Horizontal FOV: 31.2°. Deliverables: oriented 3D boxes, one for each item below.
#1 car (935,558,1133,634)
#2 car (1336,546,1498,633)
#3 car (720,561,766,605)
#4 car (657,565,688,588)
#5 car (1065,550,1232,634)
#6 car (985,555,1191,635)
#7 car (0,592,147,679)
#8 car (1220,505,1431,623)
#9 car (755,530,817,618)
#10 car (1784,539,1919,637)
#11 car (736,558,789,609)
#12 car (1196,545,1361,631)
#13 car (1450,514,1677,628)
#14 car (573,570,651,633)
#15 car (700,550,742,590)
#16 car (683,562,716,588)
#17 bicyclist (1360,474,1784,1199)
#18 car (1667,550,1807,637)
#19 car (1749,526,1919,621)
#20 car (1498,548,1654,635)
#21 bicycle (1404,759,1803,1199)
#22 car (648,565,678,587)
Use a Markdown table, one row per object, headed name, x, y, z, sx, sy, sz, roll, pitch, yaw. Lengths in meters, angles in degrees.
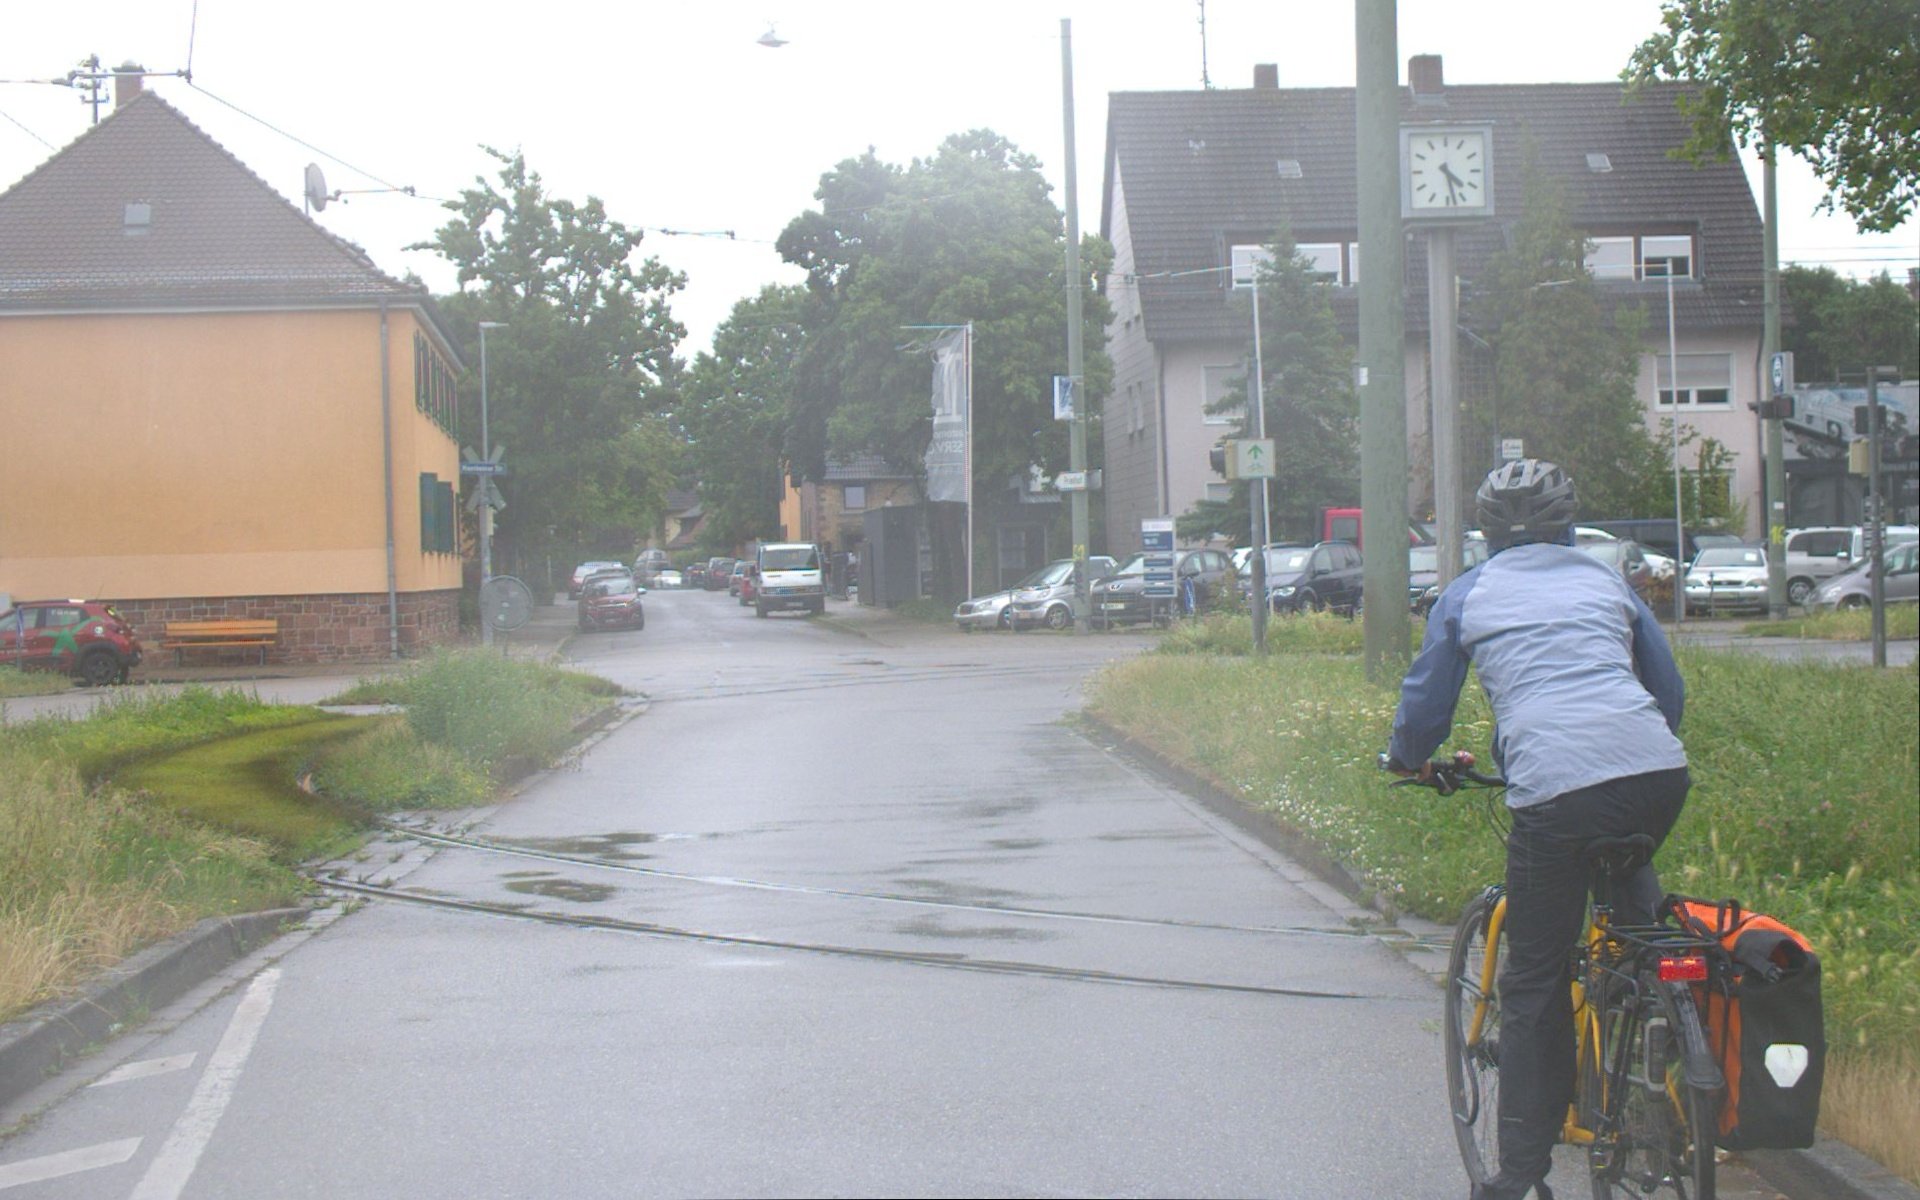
| name | x | y | z | sx | sy | sz | roll | pitch | yaw |
| --- | --- | --- | --- | --- | --- | --- | --- | --- | --- |
| car | 1.654 | -0.091 | 76.518 | 3.987 | 1.637 | 2.000 | 1 | 0 | -35 |
| car | 8.927 | -0.202 | 66.894 | 1.996 | 1.634 | 3.994 | 1 | 0 | 25 |
| car | -9.093 | -0.694 | 144.076 | 1.804 | 1.805 | 4.000 | 1 | 0 | -2 |
| car | -18.840 | -1.554 | 225.172 | 1.804 | 1.456 | 4.000 | 1 | 0 | -2 |
| car | 3.837 | -0.161 | 69.343 | 1.996 | 1.634 | 3.994 | 1 | 0 | 25 |
| car | 2.743 | -0.099 | 73.441 | 3.987 | 1.670 | 2.000 | 1 | 0 | -35 |
| car | -16.193 | 0.602 | 59.303 | 3.986 | 1.451 | 1.834 | 1 | 0 | -6 |
| car | 8.135 | -0.797 | 76.345 | 4.398 | 2.557 | 1.999 | 1 | 0 | 15 |
| car | -5.287 | -0.782 | 104.688 | 1.804 | 2.618 | 4.000 | 1 | 0 | -2 |
| car | 16.842 | -0.203 | 61.589 | 3.685 | 1.695 | 1.890 | 1 | 0 | 1 |
| car | -7.138 | -0.599 | 124.578 | 1.804 | 1.805 | 4.000 | 1 | 0 | -2 |
| car | 6.341 | -0.236 | 68.080 | 1.996 | 1.634 | 3.994 | 1 | 0 | 25 |
| car | 12.732 | -0.610 | 72.747 | 4.395 | 2.317 | 2.000 | 1 | 0 | -2 |
| car | -9.333 | 0.032 | 92.371 | 1.804 | 1.645 | 4.000 | 1 | 0 | -2 |
| car | -11.210 | -1.401 | 161.321 | 1.804 | 1.805 | 4.000 | 1 | 0 | -2 |
| car | -15.746 | -1.505 | 207.966 | 1.804 | 1.558 | 4.000 | 1 | 0 | -2 |
| bicyclist | 1.205 | 0.576 | 6.915 | 0.667 | 1.620 | 0.853 | 1 | 0 | -1 |
| car | 15.278 | -0.130 | 67.460 | 1.843 | 1.634 | 3.994 | 1 | 0 | 25 |
| car | 18.937 | -0.548 | 72.743 | 3.986 | 1.944 | 2.000 | 1 | 0 | -2 |
| car | 12.046 | -0.166 | 67.092 | 1.996 | 1.634 | 3.994 | 1 | 0 | 25 |
| bicycle | 1.266 | 0.886 | 7.013 | 0.446 | 1.001 | 1.728 | -1 | 1 | -1 |
| car | -19.911 | -1.586 | 230.471 | 1.804 | 1.456 | 4.000 | 1 | 0 | -2 |
